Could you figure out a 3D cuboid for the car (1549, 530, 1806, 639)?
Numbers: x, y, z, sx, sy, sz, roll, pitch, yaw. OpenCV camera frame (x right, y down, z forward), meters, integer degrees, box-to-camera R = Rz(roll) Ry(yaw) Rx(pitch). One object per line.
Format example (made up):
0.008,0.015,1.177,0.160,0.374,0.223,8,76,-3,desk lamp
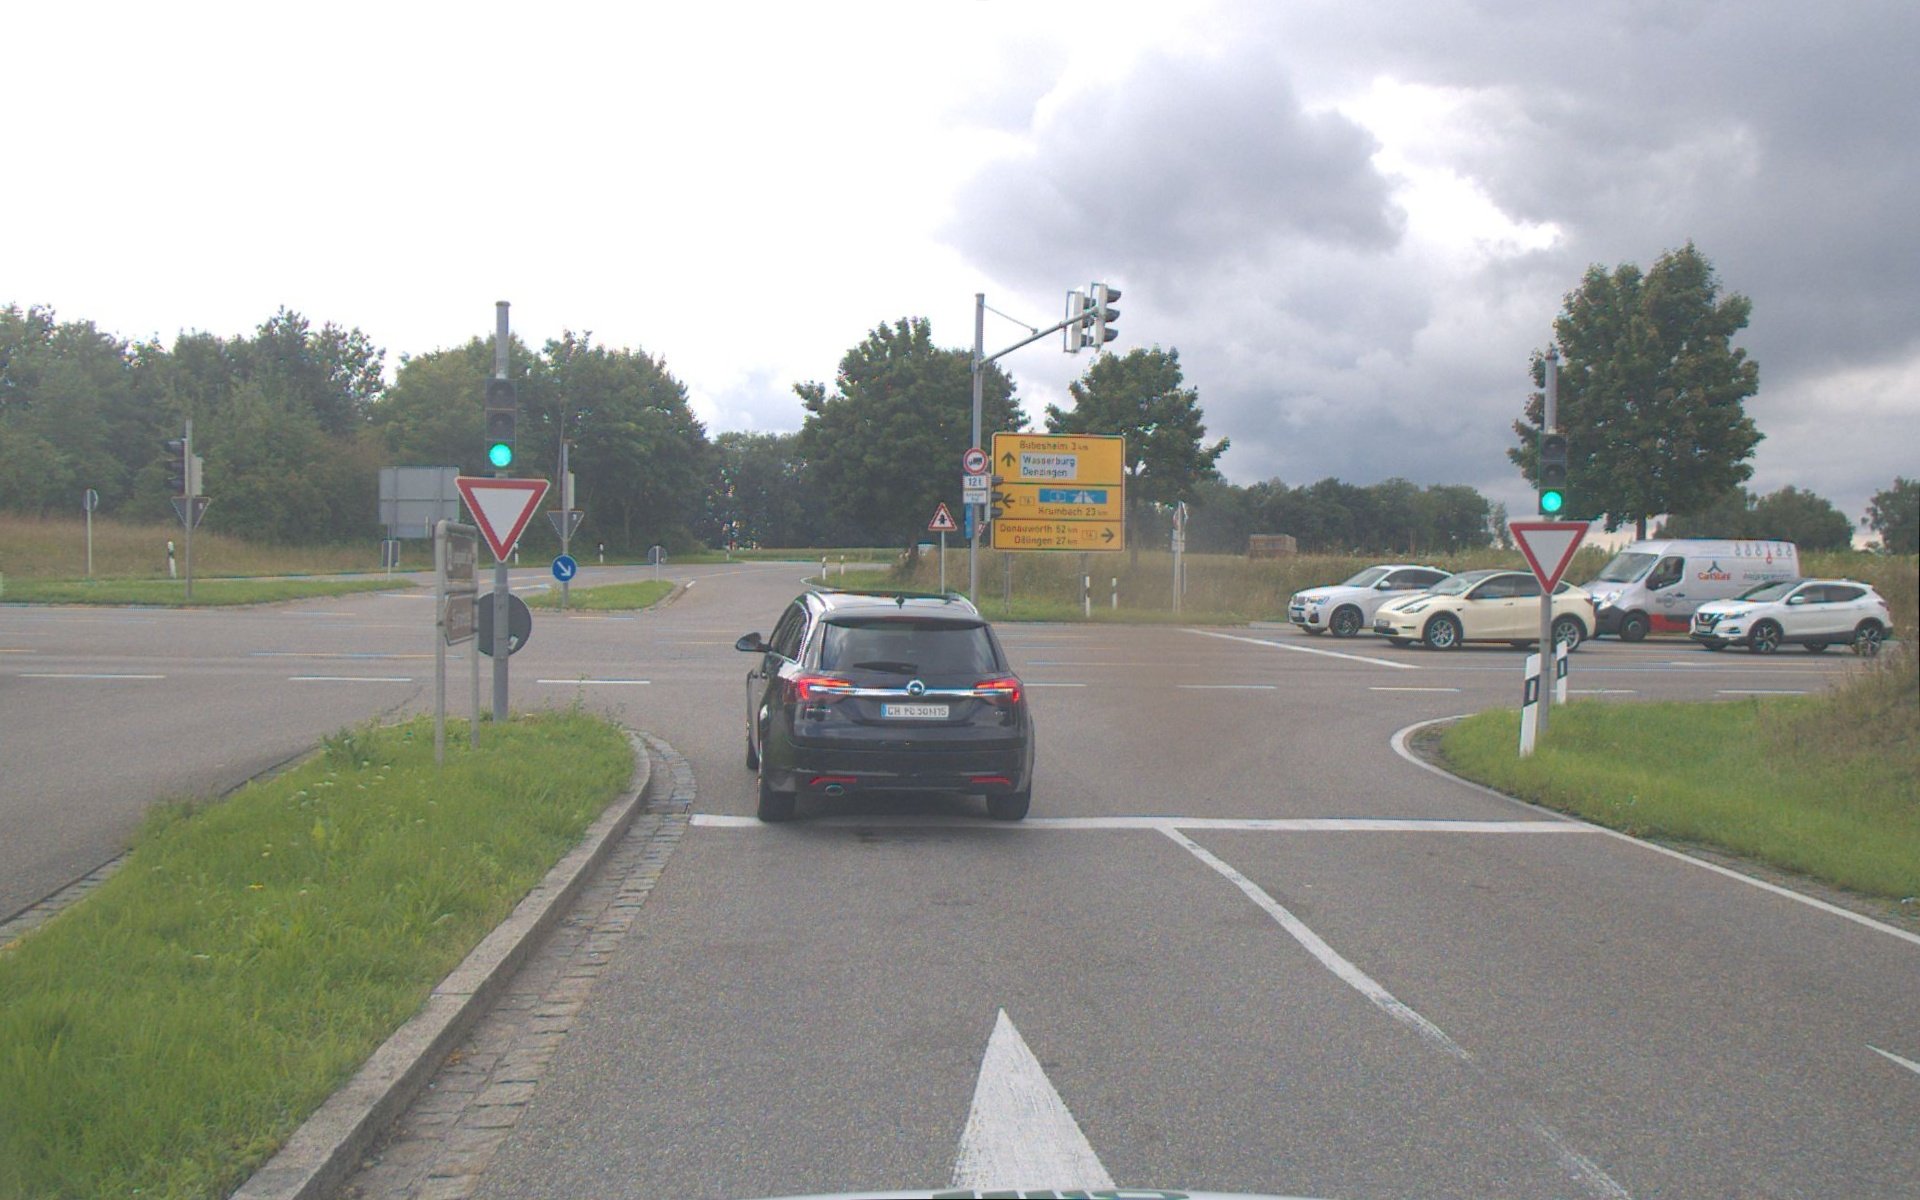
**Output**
17.505,-0.371,40.469,5.398,2.484,2.391,1,0,-12,car

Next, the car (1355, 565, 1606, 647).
10.831,0.123,34.533,4.651,1.592,1.994,1,0,-13,car

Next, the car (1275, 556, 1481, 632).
9.639,-0.133,38.267,4.188,1.657,1.993,1,0,-14,car

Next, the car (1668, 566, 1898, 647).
18.107,0.136,36.463,4.234,1.658,1.994,1,0,-13,car

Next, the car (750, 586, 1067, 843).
-0.557,0.658,11.809,1.774,1.476,4.265,1,1,-8,car
